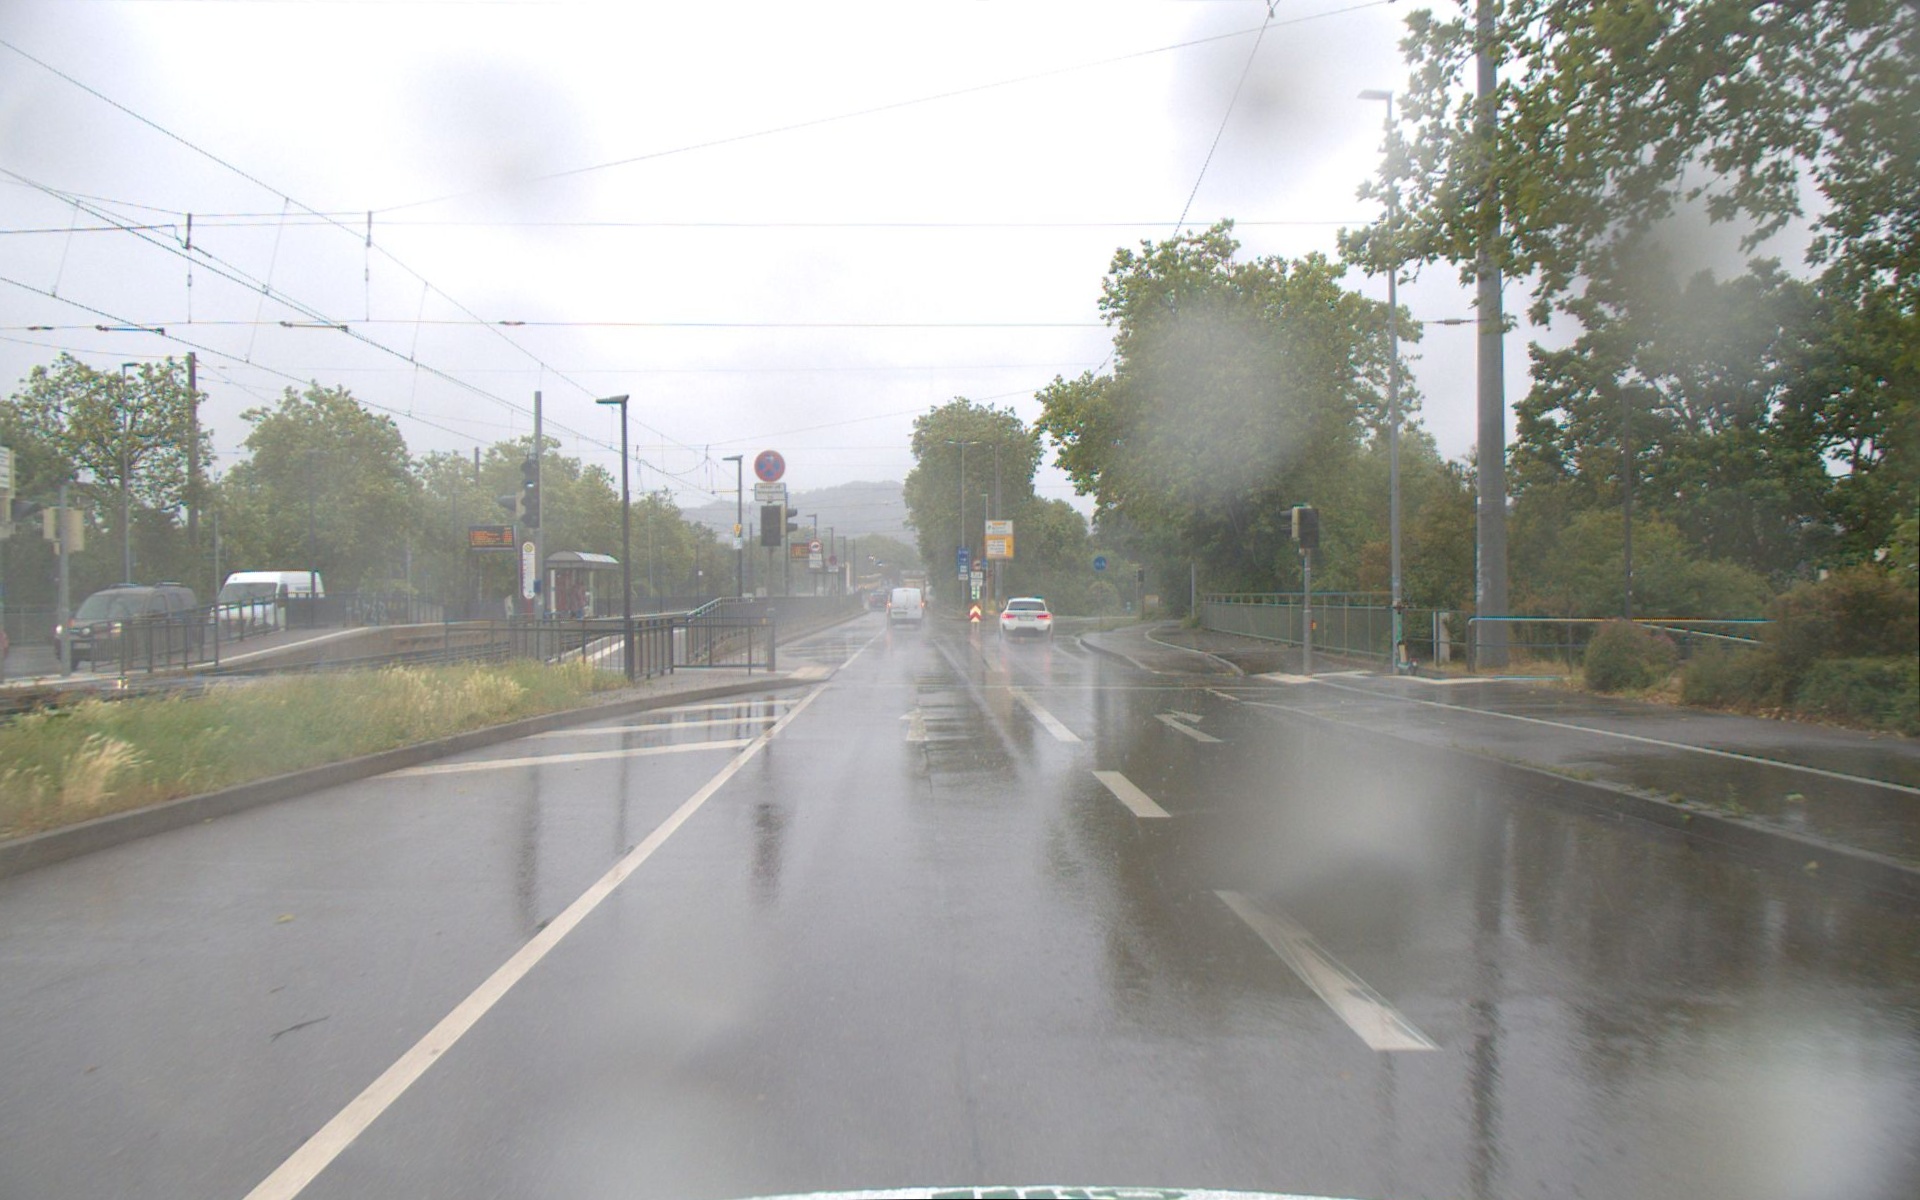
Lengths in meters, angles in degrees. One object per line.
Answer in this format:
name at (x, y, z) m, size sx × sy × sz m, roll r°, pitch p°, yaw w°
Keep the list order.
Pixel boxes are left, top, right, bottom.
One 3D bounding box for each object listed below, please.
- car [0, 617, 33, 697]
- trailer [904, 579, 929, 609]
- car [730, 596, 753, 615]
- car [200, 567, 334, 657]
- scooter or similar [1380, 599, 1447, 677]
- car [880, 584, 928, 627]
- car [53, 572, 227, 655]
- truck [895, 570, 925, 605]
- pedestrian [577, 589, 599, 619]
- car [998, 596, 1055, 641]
car at (-22.017, 1.261, 35.285) m, size 1.953 × 1.736 × 4.624 m, roll 0°, pitch 0°, yaw -1°
trailer at (-3.993, -0.527, 153.578) m, size 2.121 × 2.806 × 5.676 m, roll 0°, pitch 0°, yaw 0°
car at (-23.225, 0.608, 176.029) m, size 1.953 × 2.049 × 3.999 m, roll 0°, pitch 0°, yaw -1°
car at (-22.590, 0.361, 54.193) m, size 2.077 × 2.760 × 5.737 m, roll 0°, pitch 0°, yaw -1°
scooter or similar at (7.818, 0.643, 28.583) m, size 0.743 × 1.315 × 1.647 m, roll 0°, pitch 0°, yaw 1°
car at (-2.597, 0.233, 75.494) m, size 1.955 × 1.881 × 3.995 m, roll 0°, pitch 0°, yaw -6°
car at (-18.772, 0.281, 38.099) m, size 1.953 × 1.803 × 4.257 m, roll 0°, pitch 0°, yaw -1°
truck at (-5.653, -1.372, 184.704) m, size 2.722 × 3.769 × 9.840 m, roll 0°, pitch 0°, yaw -5°
pedestrian at (-17.334, 0.179, 77.038) m, size 0.814 × 1.339 × 0.858 m, roll 1°, pitch 0°, yaw -1°
car at (2.233, 0.582, 55.612) m, size 1.849 × 1.456 × 4.001 m, roll 0°, pitch 0°, yaw 3°
